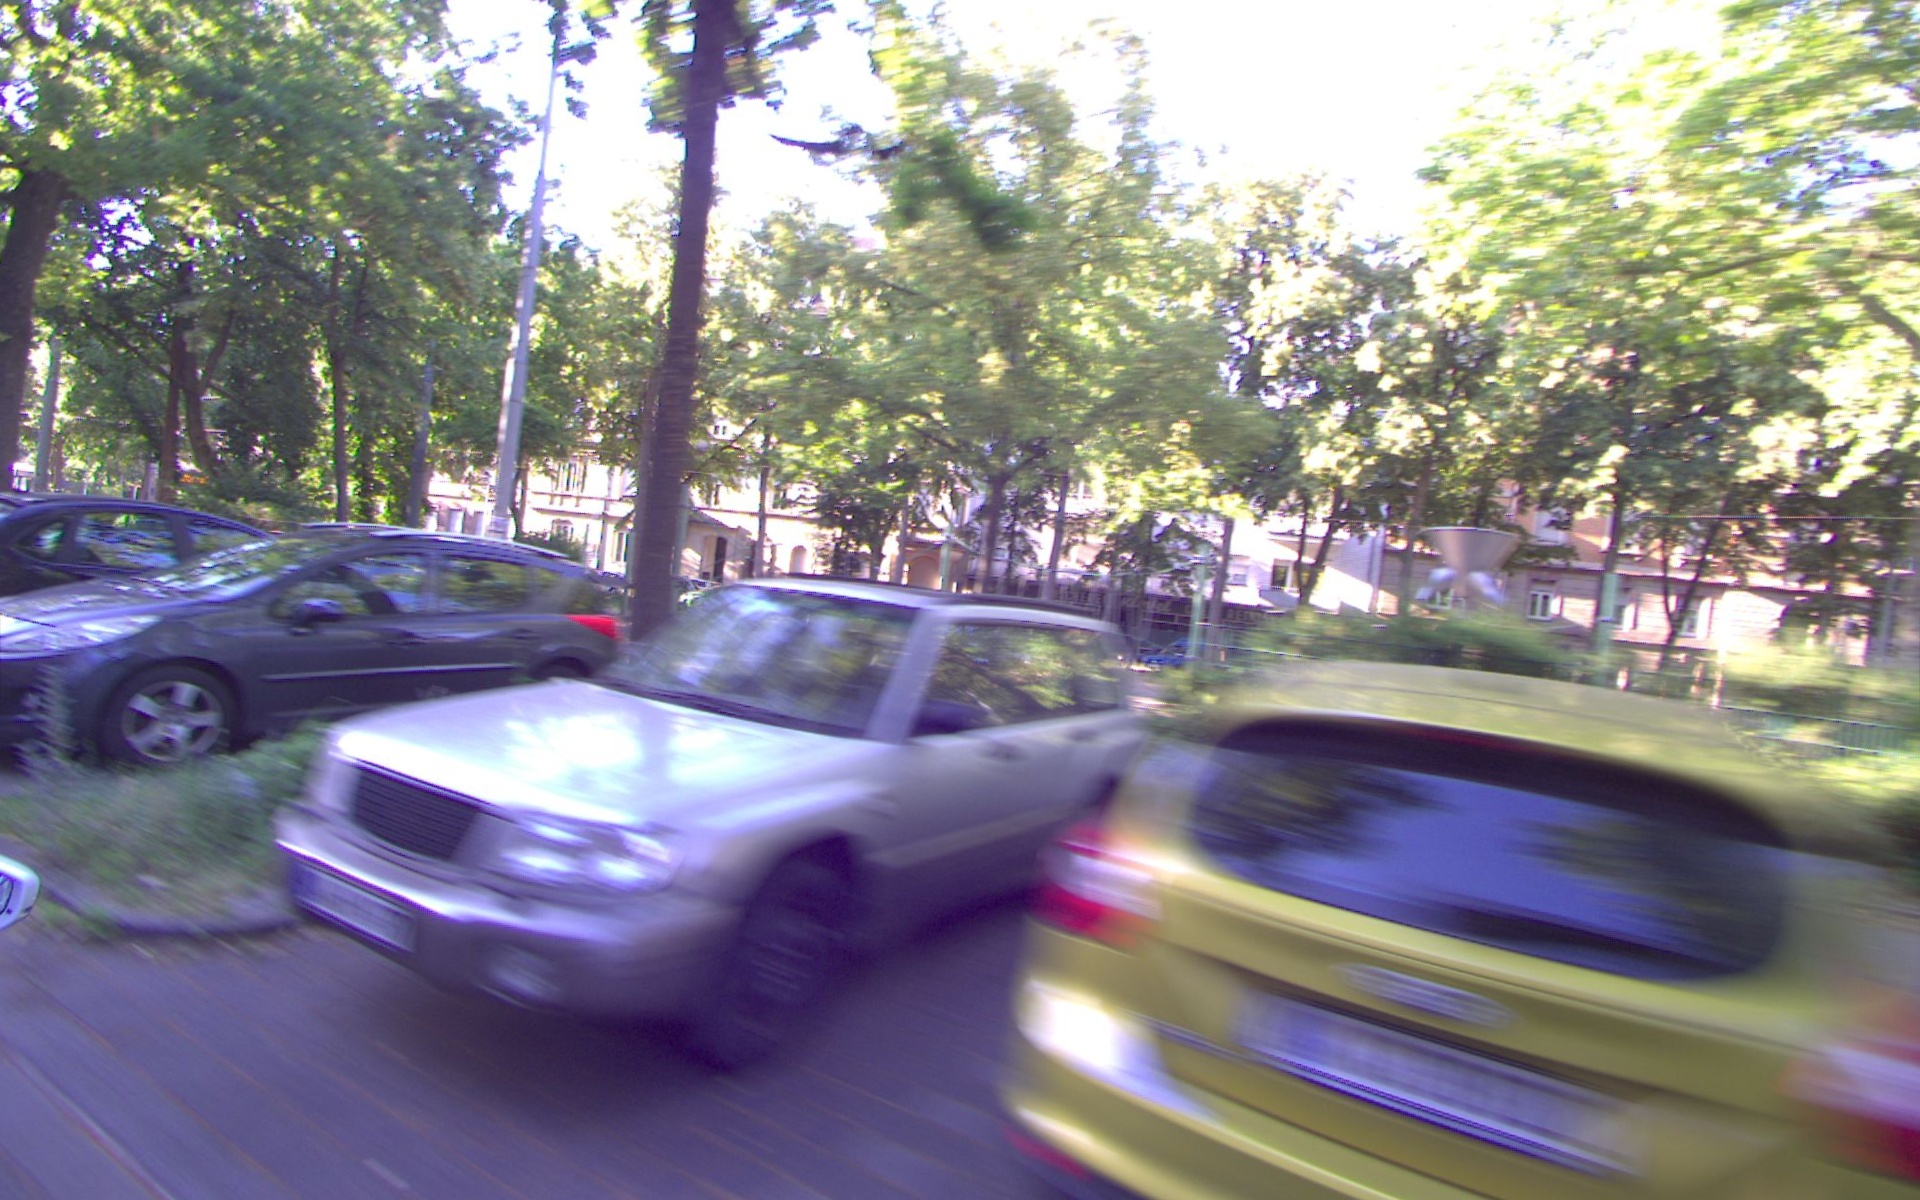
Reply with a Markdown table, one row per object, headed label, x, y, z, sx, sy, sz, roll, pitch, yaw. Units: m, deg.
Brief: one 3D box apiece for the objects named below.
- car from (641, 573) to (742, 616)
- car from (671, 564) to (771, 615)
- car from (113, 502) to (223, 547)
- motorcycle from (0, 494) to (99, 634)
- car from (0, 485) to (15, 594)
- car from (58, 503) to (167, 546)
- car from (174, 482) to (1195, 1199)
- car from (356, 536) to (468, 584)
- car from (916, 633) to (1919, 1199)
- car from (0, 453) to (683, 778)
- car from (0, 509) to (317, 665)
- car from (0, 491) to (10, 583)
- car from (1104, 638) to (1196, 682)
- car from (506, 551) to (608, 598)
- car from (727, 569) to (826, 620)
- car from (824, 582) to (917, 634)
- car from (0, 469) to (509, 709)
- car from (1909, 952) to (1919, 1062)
| label | x | y | z | sx | sy | sz | roll | pitch | yaw |
| --- | --- | --- | --- | --- | --- | --- | --- | --- | --- |
| car | -14.143 | -0.288 | 53.025 | 4.649 | 1.706 | 2.002 | 5 | -2 | 17 |
| car | -10.611 | -0.439 | 44.920 | 1.967 | 1.703 | 3.995 | 5 | -3 | 31 |
| car | -44.785 | -4.246 | 57.039 | 4.674 | 1.703 | 1.982 | 8 | -3 | -36 |
| motorcycle | -11.169 | -0.471 | 11.316 | 1.243 | 1.479 | 1.864 | 5 | -3 | 32 |
| car | -15.032 | -1.015 | 13.055 | 1.733 | 1.521 | 3.676 | 6 | 1 | 32 |
| car | -49.919 | -4.421 | 59.404 | 4.675 | 1.703 | 1.981 | 8 | -3 | -37 |
| car | -0.536 | 0.645 | 4.608 | 1.807 | 1.610 | 4.405 | 6 | -1 | 30 |
| car | -27.549 | -1.965 | 50.637 | 4.674 | 1.703 | 1.982 | 8 | -3 | -36 |
| car | 1.891 | 1.014 | 3.426 | 1.808 | 1.458 | 4.402 | 6 | -1 | 33 |
| car | -4.372 | 0.153 | 7.290 | 1.807 | 1.610 | 4.404 | 6 | -1 | 32 |
| car | -8.561 | -0.145 | 9.454 | 1.662 | 1.295 | 3.848 | 6 | 0 | 30 |
| car | -16.938 | -1.166 | 14.684 | 1.731 | 1.461 | 4.087 | 6 | 1 | 28 |
| car | 8.643 | 2.743 | 45.928 | 3.923 | 1.570 | 2.003 | 6 | -2 | 11 |
| car | -19.117 | -1.204 | 47.818 | 3.971 | 1.703 | 1.979 | 8 | -3 | -40 |
| car | -7.927 | -0.207 | 43.815 | 1.967 | 1.703 | 3.995 | 5 | -3 | 31 |
| car | -4.407 | 0.403 | 49.656 | 3.924 | 2.037 | 2.002 | 5 | -2 | 17 |
| car | -6.468 | -0.042 | 8.756 | 1.805 | 1.610 | 4.409 | 6 | -1 | 26 |
| car | 3.959 | 1.248 | 2.235 | 1.808 | 1.458 | 4.402 | 6 | -1 | 33 |
